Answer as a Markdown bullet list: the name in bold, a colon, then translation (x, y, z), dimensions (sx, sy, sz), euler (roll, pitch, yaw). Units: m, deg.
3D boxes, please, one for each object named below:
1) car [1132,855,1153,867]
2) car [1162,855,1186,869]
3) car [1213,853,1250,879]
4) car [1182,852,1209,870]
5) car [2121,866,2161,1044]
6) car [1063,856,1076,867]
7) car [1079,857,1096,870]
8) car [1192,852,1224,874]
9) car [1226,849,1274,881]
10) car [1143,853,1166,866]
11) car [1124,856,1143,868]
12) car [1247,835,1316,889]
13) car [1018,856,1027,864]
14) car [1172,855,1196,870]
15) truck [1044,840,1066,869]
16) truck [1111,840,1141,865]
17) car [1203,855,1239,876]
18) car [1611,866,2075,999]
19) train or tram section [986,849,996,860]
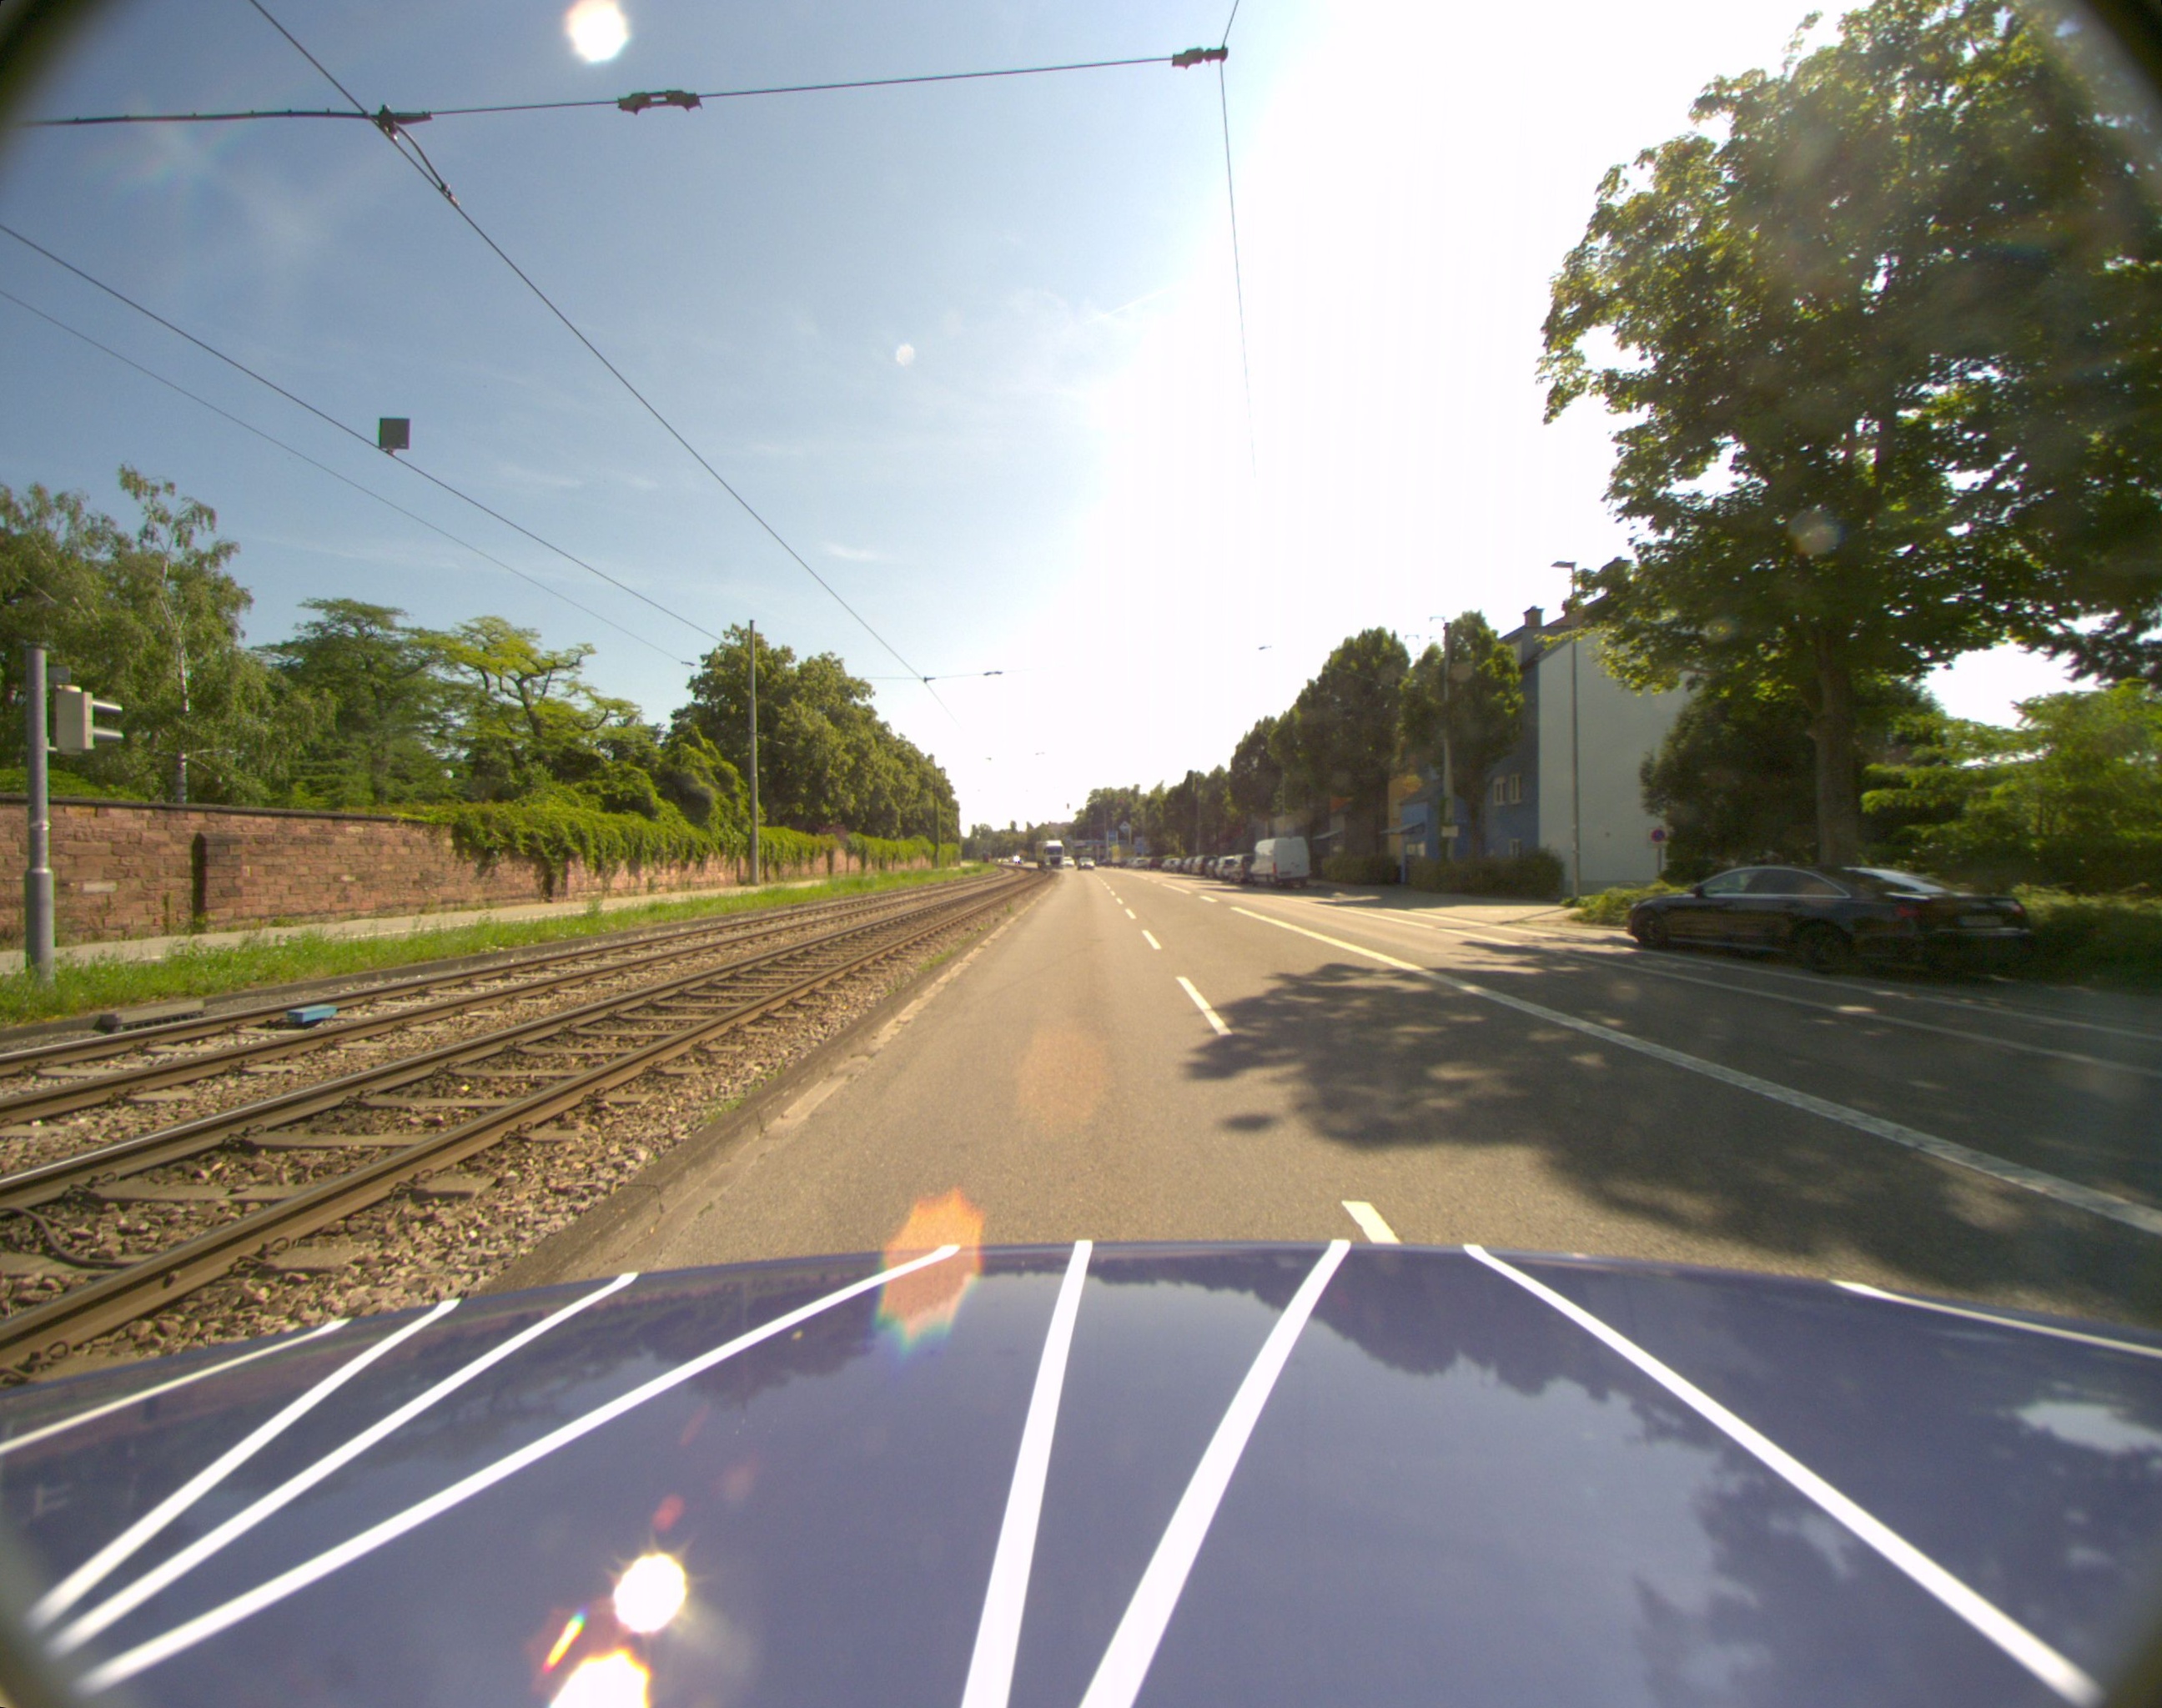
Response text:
- **car**: translation (8.348, 0.916, 103.806), dimensions (2.040, 1.490, 4.130), euler (-2, 0, -6)
- **car**: translation (10.363, 0.876, 84.863), dimensions (1.682, 1.437, 4.835), euler (-2, 0, -6)
- **car**: translation (11.087, 0.867, 56.204), dimensions (1.852, 1.693, 4.540), euler (-4, 1, 1)
- **car**: translation (10.734, 0.658, 71.598), dimensions (1.681, 1.598, 4.164), euler (-2, 0, -3)
- **car**: translation (10.571, 0.899, 4.640), dimensions (1.766, 1.596, 4.894), euler (-1, 0, 0)
- **car**: translation (-1.795, 1.116, 116.649), dimensions (1.785, 1.538, 4.392), euler (-2, 0, -4)
- **car**: translation (0.741, 1.093, 90.517), dimensions (1.748, 1.421, 5.040), euler (-1, 0, -2)
- **car**: translation (11.048, 0.765, 66.404), dimensions (1.834, 1.718, 4.348), euler (-3, 0, -3)
- **car**: translation (11.155, 0.713, 50.518), dimensions (1.998, 1.855, 4.966), euler (-4, 0, 1)
- **car**: translation (9.292, 0.683, 96.000), dimensions (1.911, 1.567, 4.929), euler (-2, 0, -6)
- **car**: translation (7.477, 1.116, 108.305), dimensions (1.915, 1.469, 4.213), euler (-2, 0, -6)
- **car**: translation (11.052, 0.393, 42.429), dimensions (1.998, 2.661, 7.086), euler (-4, 0, 2)
- **car**: translation (-13.106, 1.395, 169.056), dimensions (1.854, 1.707, 3.997), euler (-2, 1, -6)
- **car**: translation (10.550, 0.878, 77.877), dimensions (1.681, 1.462, 4.212), euler (-2, 0, -3)
- **truck**: translation (-3.779, 0.047, 108.871), dimensions (2.806, 3.926, 11.939), euler (0, 0, -4)
- **truck**: translation (6.751, -0.216, 116.009), dimensions (3.165, 3.533, 8.780), euler (0, 0, -6)
- **car**: translation (11.257, 0.890, 61.226), dimensions (1.871, 1.447, 4.074), euler (-4, 1, -3)
- **car**: translation (10.596, 0.948, 11.297), dimensions (1.845, 1.457, 4.909), euler (0, 0, -3)
- **train or tram section**: translation (-31.081, 0.073, 262.451), dimensions (2.722, 3.716, 18.868), euler (-1, 0, -6)
